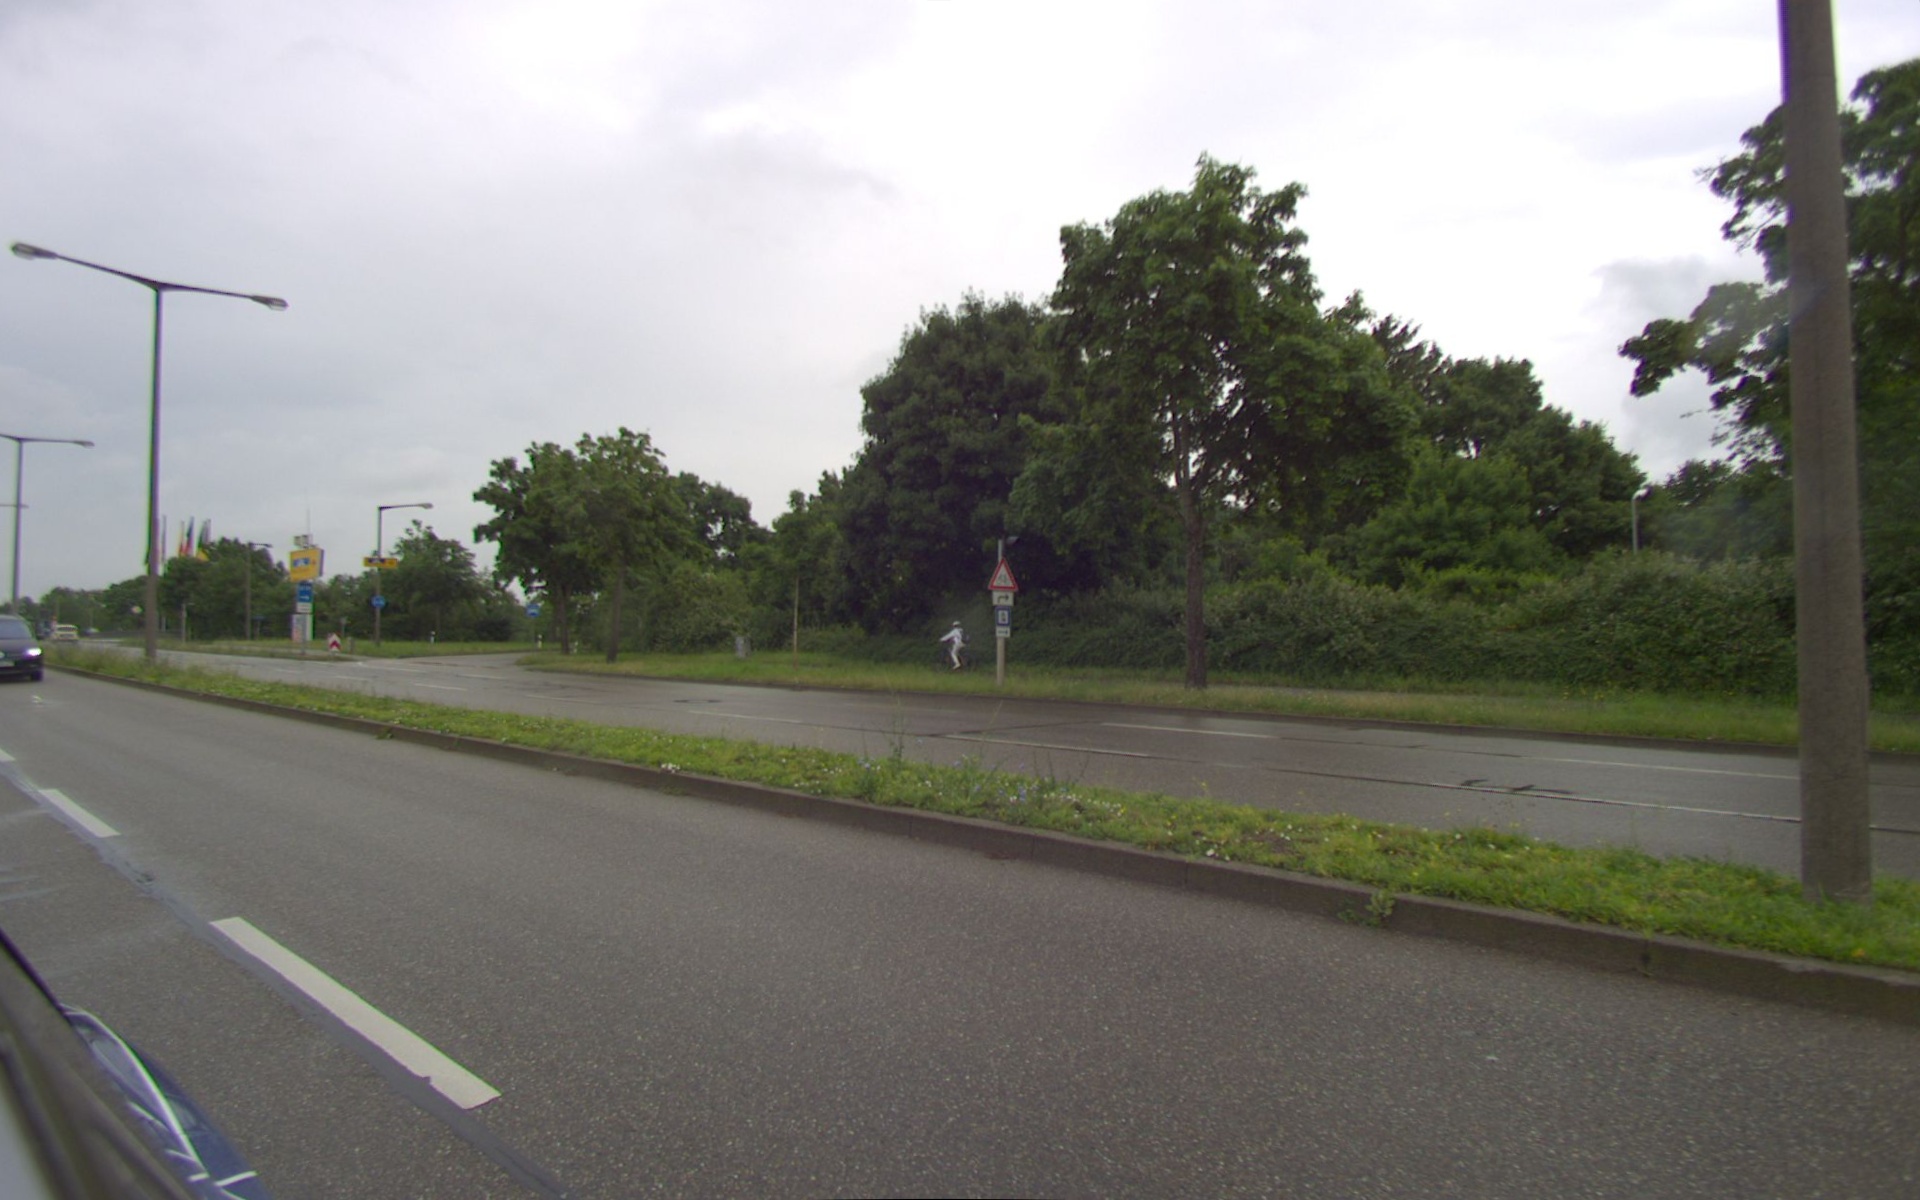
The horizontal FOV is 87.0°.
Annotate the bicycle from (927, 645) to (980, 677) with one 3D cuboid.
[{"bbox_3d":[-0.210,1.791,29.906,1.633,0.892,0.516,-1,-1,42],"label":"bicycle"}]

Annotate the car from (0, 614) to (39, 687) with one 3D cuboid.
[{"bbox_3d":[-25.477,1.320,26.120,4.812,1.764,1.827,-3,-2,39],"label":"car"}]

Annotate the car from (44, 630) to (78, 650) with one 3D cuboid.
[{"bbox_3d":[-78.567,3.513,88.410,4.490,1.642,1.689,-2,-4,42],"label":"car"}]

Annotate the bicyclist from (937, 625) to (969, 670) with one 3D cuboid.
[{"bbox_3d":[-0.213,1.396,29.910,0.808,1.312,0.516,-2,-1,42],"label":"bicyclist"}]
